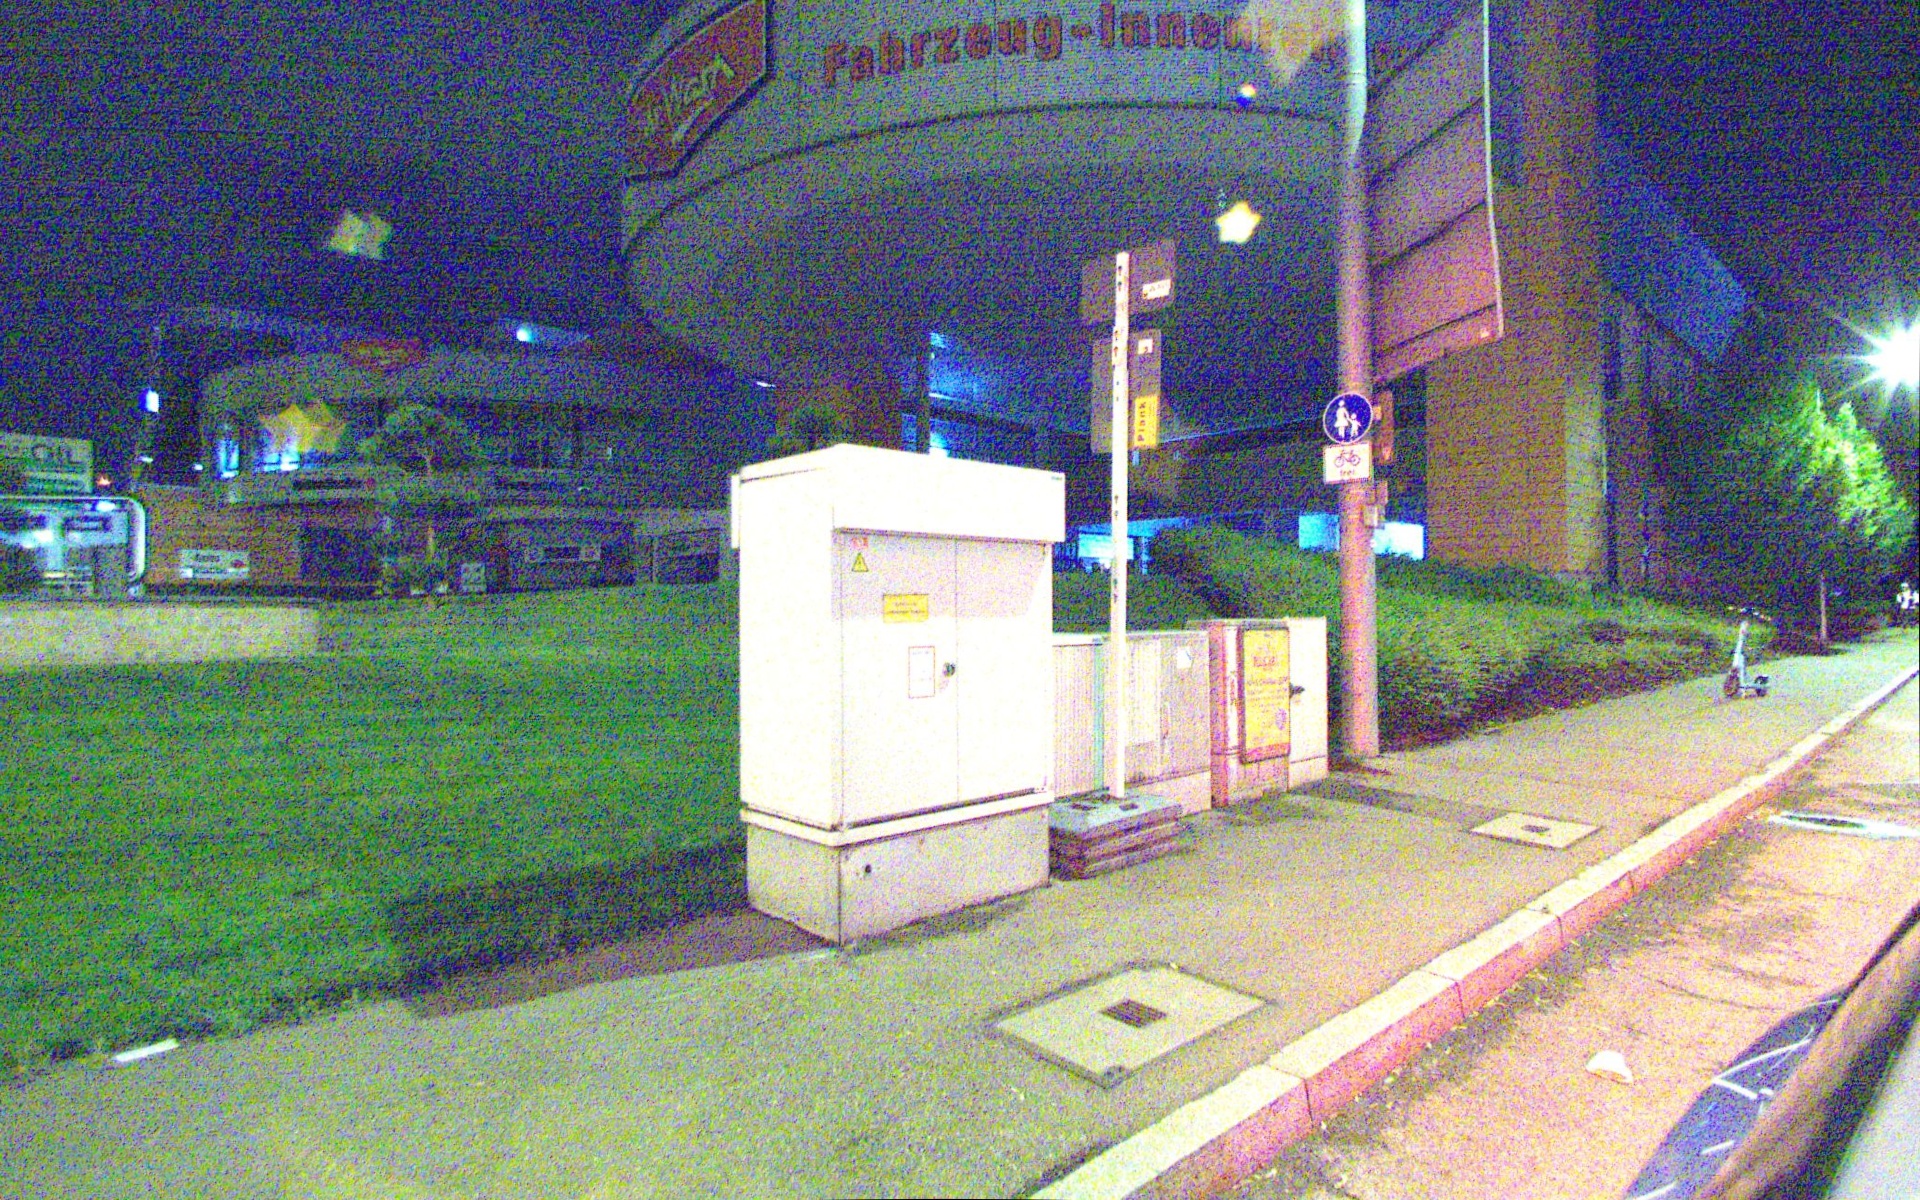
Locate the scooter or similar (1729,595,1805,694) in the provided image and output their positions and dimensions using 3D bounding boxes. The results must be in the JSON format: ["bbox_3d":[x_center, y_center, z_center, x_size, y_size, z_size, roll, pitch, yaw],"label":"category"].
[{"bbox_3d":[11.261,0.588,14.113,1.367,1.295,0.569,0,1,-41],"label":"scooter or similar"}]

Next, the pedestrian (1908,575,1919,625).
[{"bbox_3d":[35.894,-0.006,37.656,0.597,1.842,0.824,-1,0,-40],"label":"pedestrian"}]
